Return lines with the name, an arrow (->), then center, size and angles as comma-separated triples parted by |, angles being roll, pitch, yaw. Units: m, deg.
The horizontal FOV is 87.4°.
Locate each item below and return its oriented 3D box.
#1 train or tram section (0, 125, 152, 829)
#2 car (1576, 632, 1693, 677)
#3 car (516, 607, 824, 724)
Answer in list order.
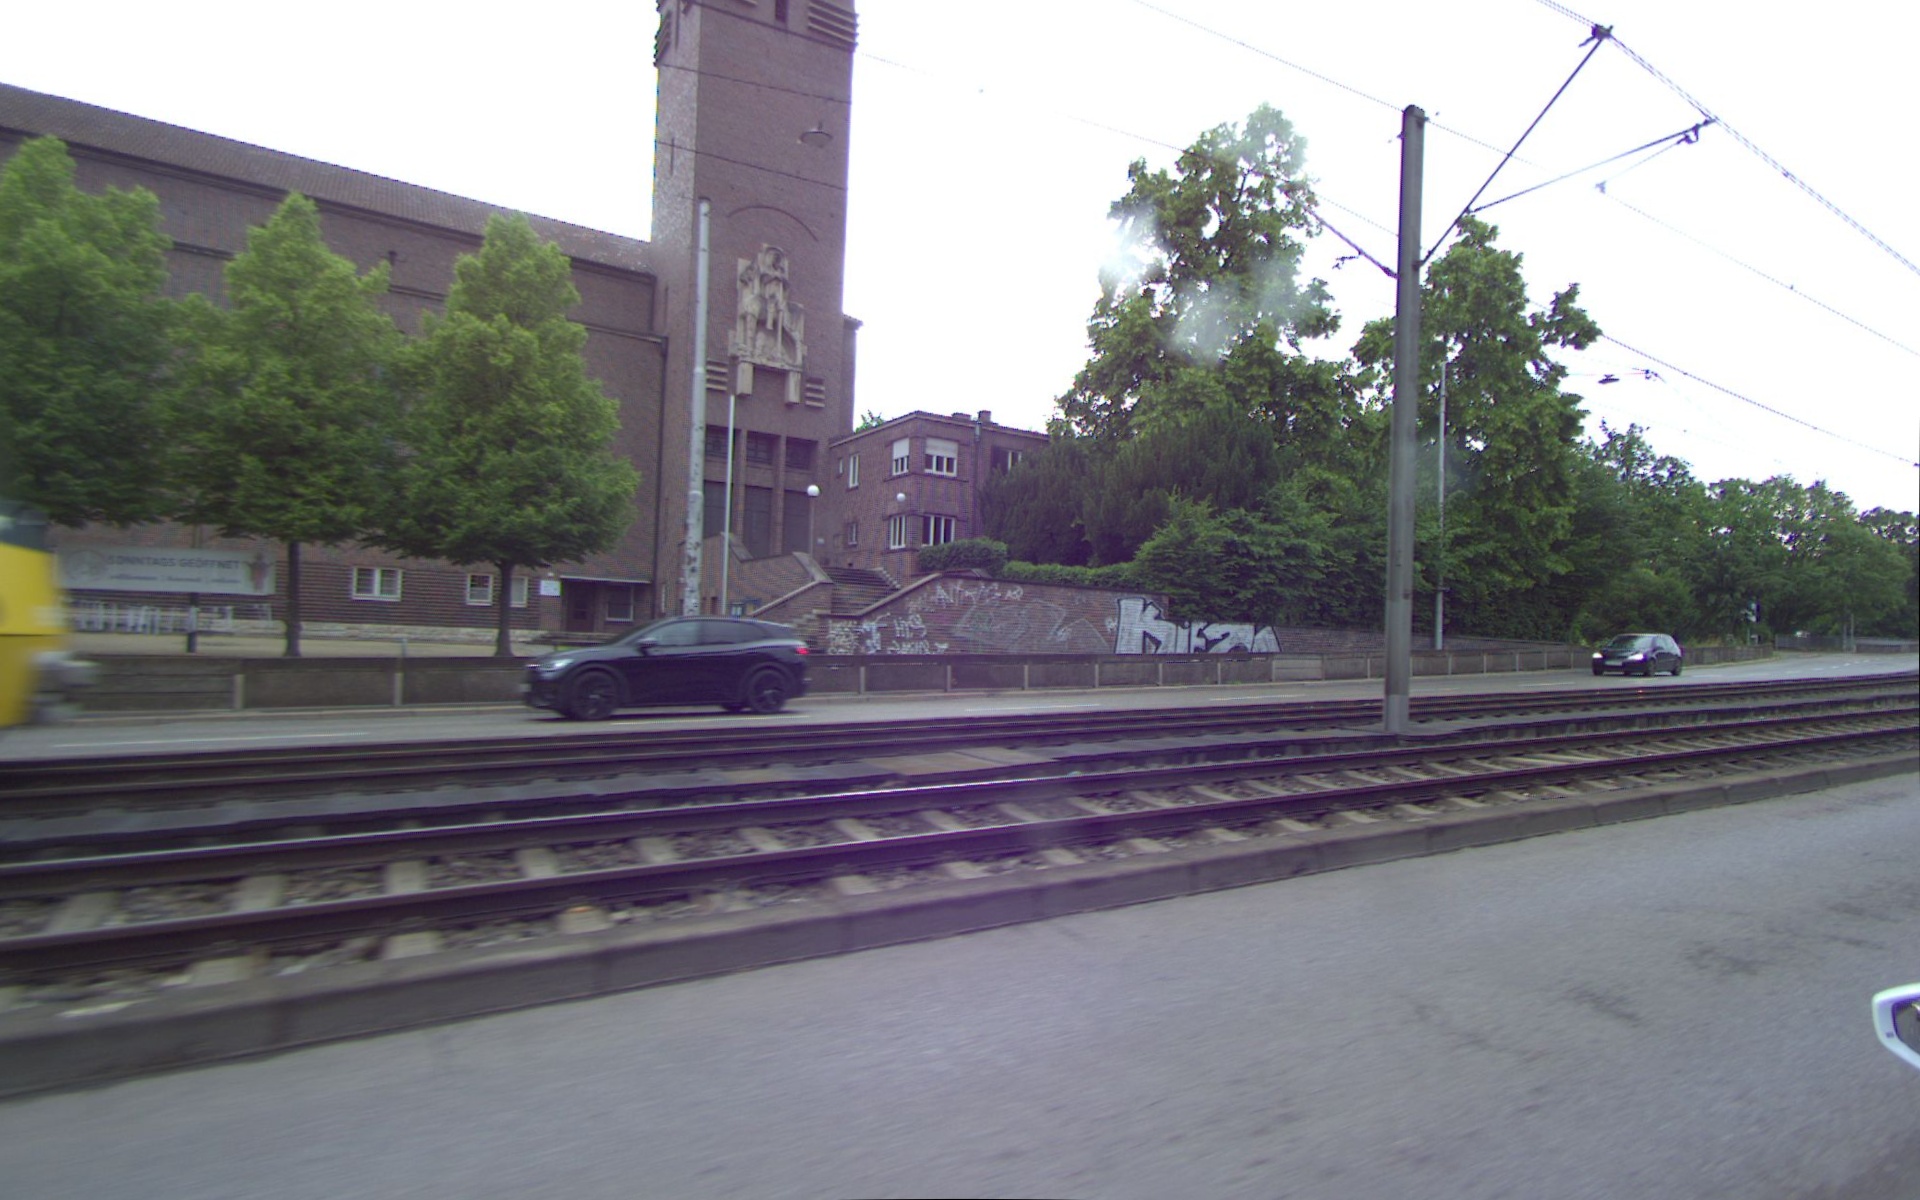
train or tram section -> -13.610, -0.917, 2.533 | 17.669, 4.028, 2.814 | 2, -1, -31
car -> 23.553, 1.898, 35.041 | 4.278, 1.460, 1.953 | 2, -3, -34
car -> -4.674, 1.045, 16.436 | 4.476, 1.665, 1.983 | 2, -3, -33
